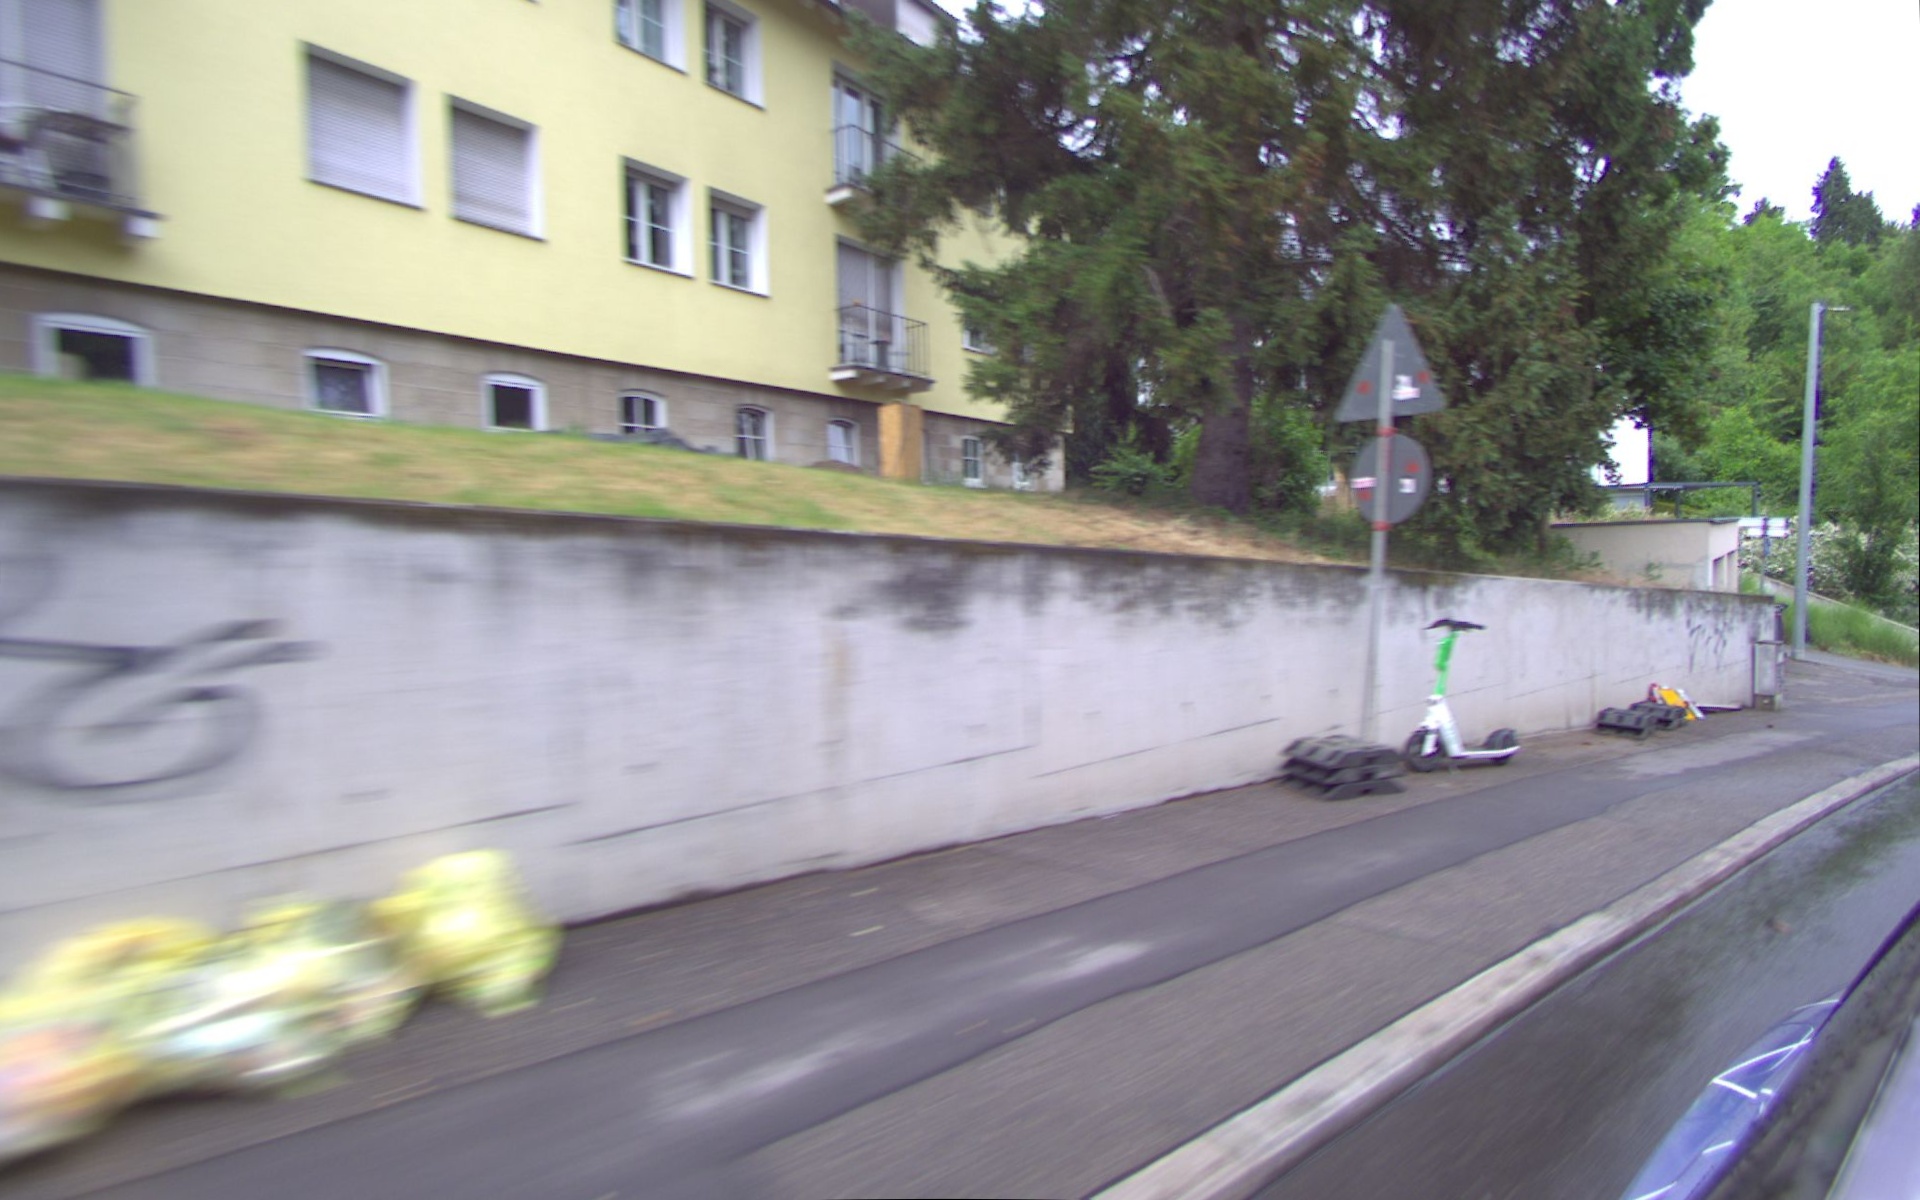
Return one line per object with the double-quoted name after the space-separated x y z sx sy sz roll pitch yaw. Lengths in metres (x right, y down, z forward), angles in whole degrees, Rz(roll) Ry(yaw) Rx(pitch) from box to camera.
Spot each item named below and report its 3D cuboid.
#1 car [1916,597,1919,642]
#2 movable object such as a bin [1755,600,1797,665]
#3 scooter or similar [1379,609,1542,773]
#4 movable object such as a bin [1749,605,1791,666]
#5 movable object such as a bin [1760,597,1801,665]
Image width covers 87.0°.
29.093 0.518 28.012 1.548 1.651 3.474 0 5 -33 "car"
16.725 0.657 20.739 0.446 1.283 0.563 0 2 -43 "movable object such as a bin"
3.934 0.664 7.928 1.345 1.147 0.599 1 2 -39 "scooter or similar"
16.349 0.708 20.426 0.436 1.190 0.574 0 2 -43 "movable object such as a bin"
17.088 0.640 21.078 0.455 1.367 0.554 0 2 -43 "movable object such as a bin"
